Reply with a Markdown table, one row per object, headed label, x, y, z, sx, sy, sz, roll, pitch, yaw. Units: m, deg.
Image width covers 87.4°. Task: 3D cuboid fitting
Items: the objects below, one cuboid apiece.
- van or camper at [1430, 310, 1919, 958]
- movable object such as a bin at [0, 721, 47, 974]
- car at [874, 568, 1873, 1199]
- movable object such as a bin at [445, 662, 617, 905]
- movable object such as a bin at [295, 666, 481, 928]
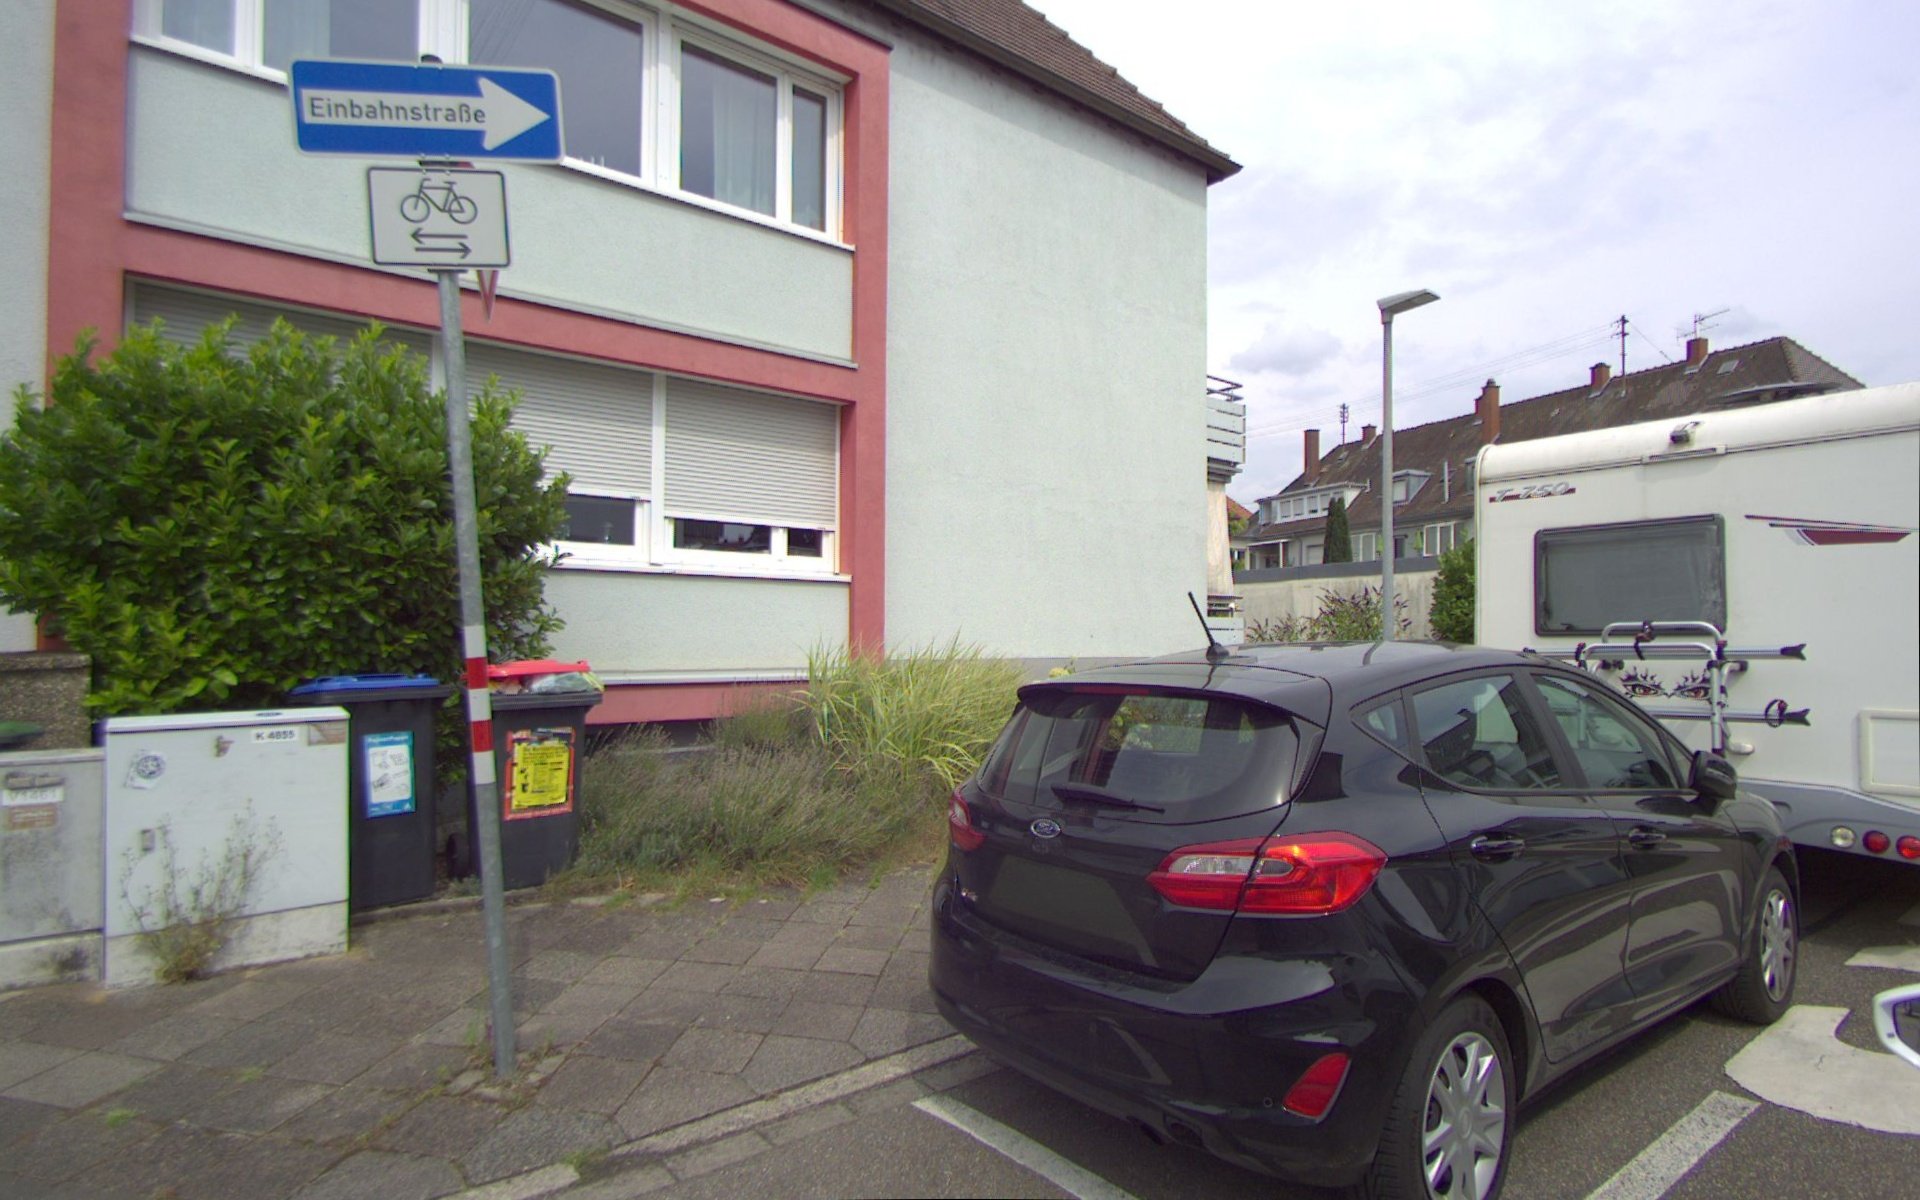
| label | x | y | z | sx | sy | sz | roll | pitch | yaw |
| --- | --- | --- | --- | --- | --- | --- | --- | --- | --- |
| van or camper | 6.016 | 0.337 | 6.853 | 6.102 | 2.760 | 2.389 | 4 | -4 | -35 |
| movable object such as a bin | -3.891 | 0.949 | 3.876 | 0.484 | 0.918 | 0.469 | 5 | -4 | -44 |
| car | 1.724 | 0.789 | 3.724 | 3.730 | 1.441 | 1.648 | 4 | -4 | -34 |
| movable object such as a bin | -2.267 | 0.915 | 5.302 | 0.590 | 1.146 | 0.669 | 5 | -4 | -44 |
| movable object such as a bin | -2.784 | 0.901 | 4.887 | 0.590 | 1.128 | 0.669 | 5 | -4 | -44 |
